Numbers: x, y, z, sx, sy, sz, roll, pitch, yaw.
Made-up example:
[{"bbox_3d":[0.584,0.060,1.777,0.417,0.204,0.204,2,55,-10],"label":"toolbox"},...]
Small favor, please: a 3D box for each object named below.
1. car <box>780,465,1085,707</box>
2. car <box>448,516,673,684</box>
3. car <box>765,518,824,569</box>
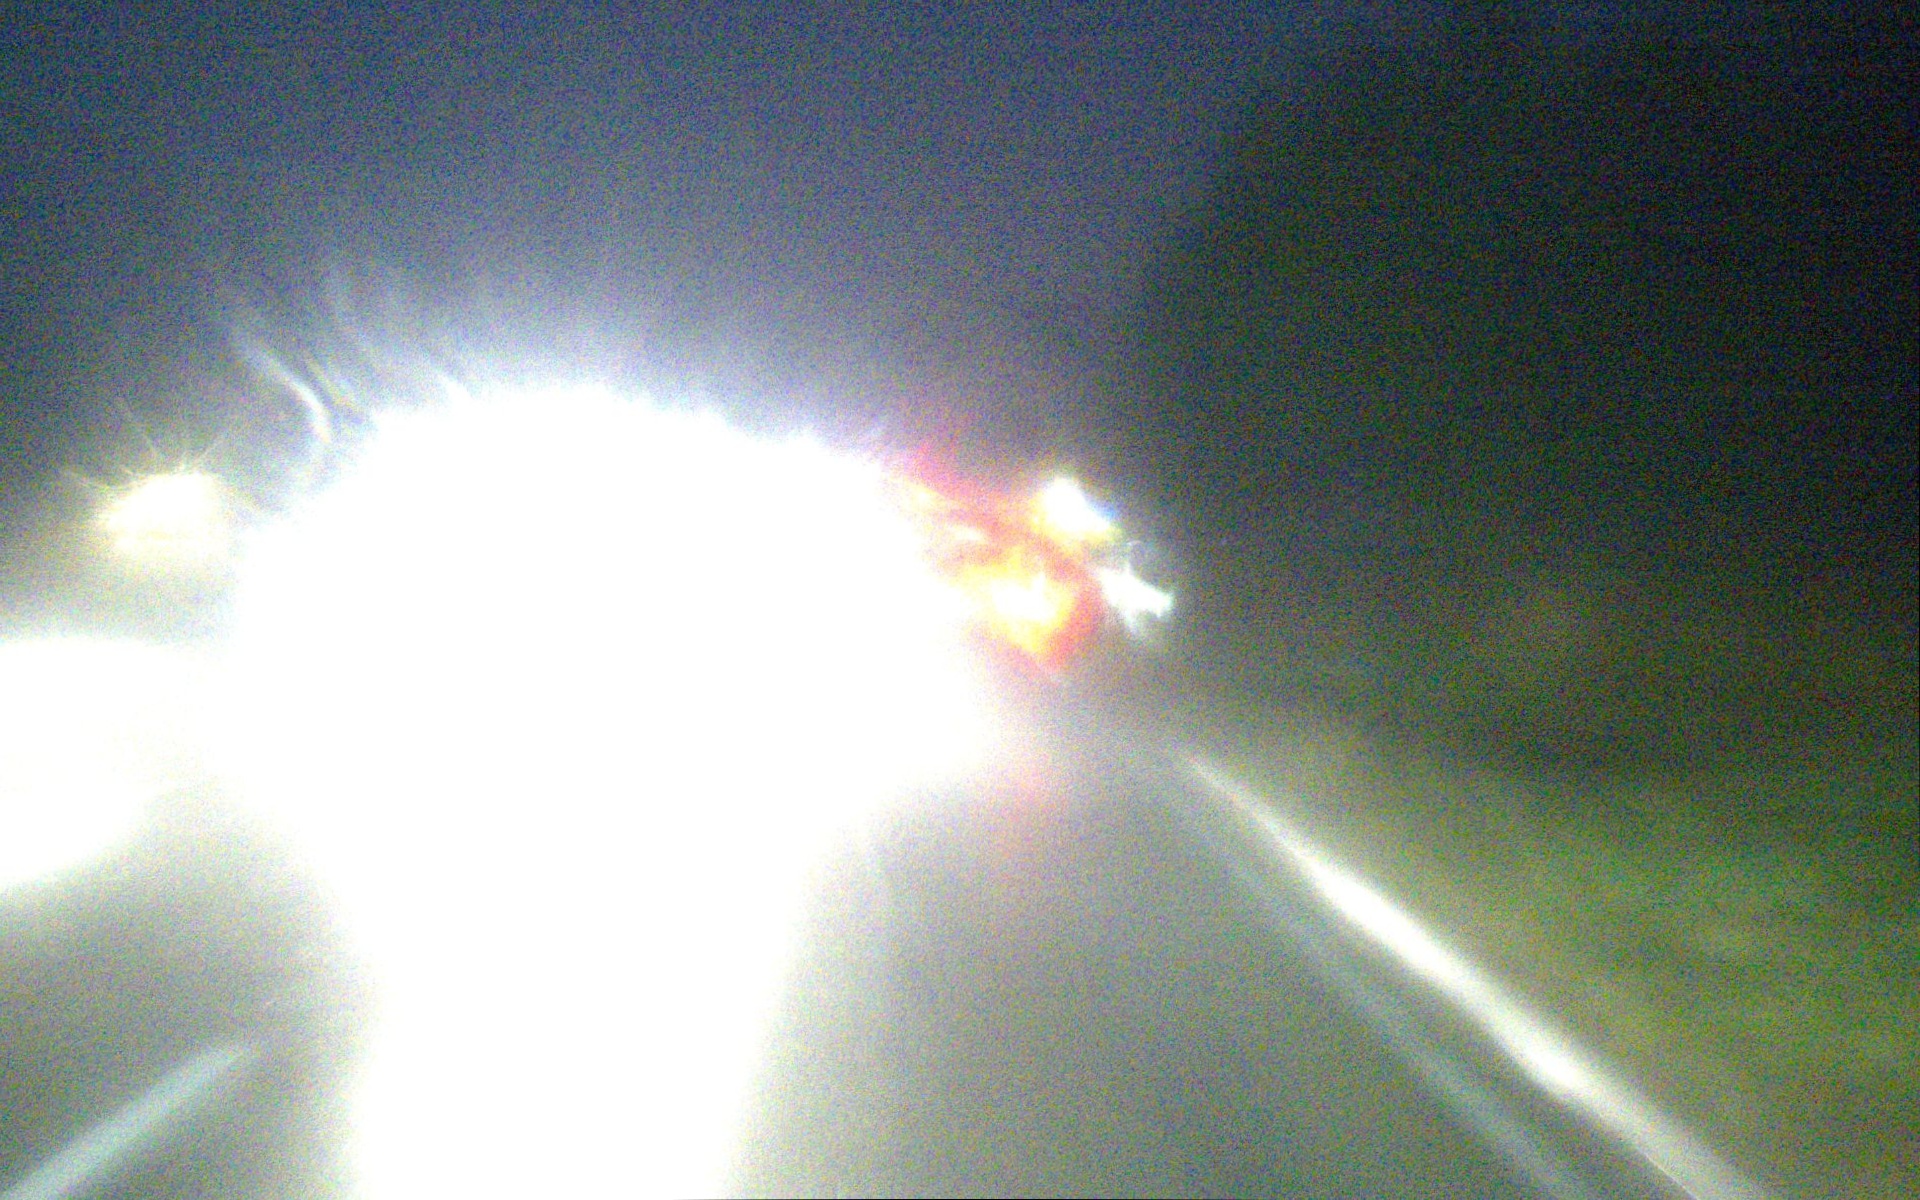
[{"bbox_3d":[-0.229,-0.163,30.299,2.457,1.952,4.912,0,1,0],"label":"car"},{"bbox_3d":[-4.008,-0.053,35.119,1.765,1.514,4.491,-3,2,-1],"label":"car"},{"bbox_3d":[-5.316,-1.834,110.908,1.795,1.532,3.801,-3,2,-2],"label":"car"}]
